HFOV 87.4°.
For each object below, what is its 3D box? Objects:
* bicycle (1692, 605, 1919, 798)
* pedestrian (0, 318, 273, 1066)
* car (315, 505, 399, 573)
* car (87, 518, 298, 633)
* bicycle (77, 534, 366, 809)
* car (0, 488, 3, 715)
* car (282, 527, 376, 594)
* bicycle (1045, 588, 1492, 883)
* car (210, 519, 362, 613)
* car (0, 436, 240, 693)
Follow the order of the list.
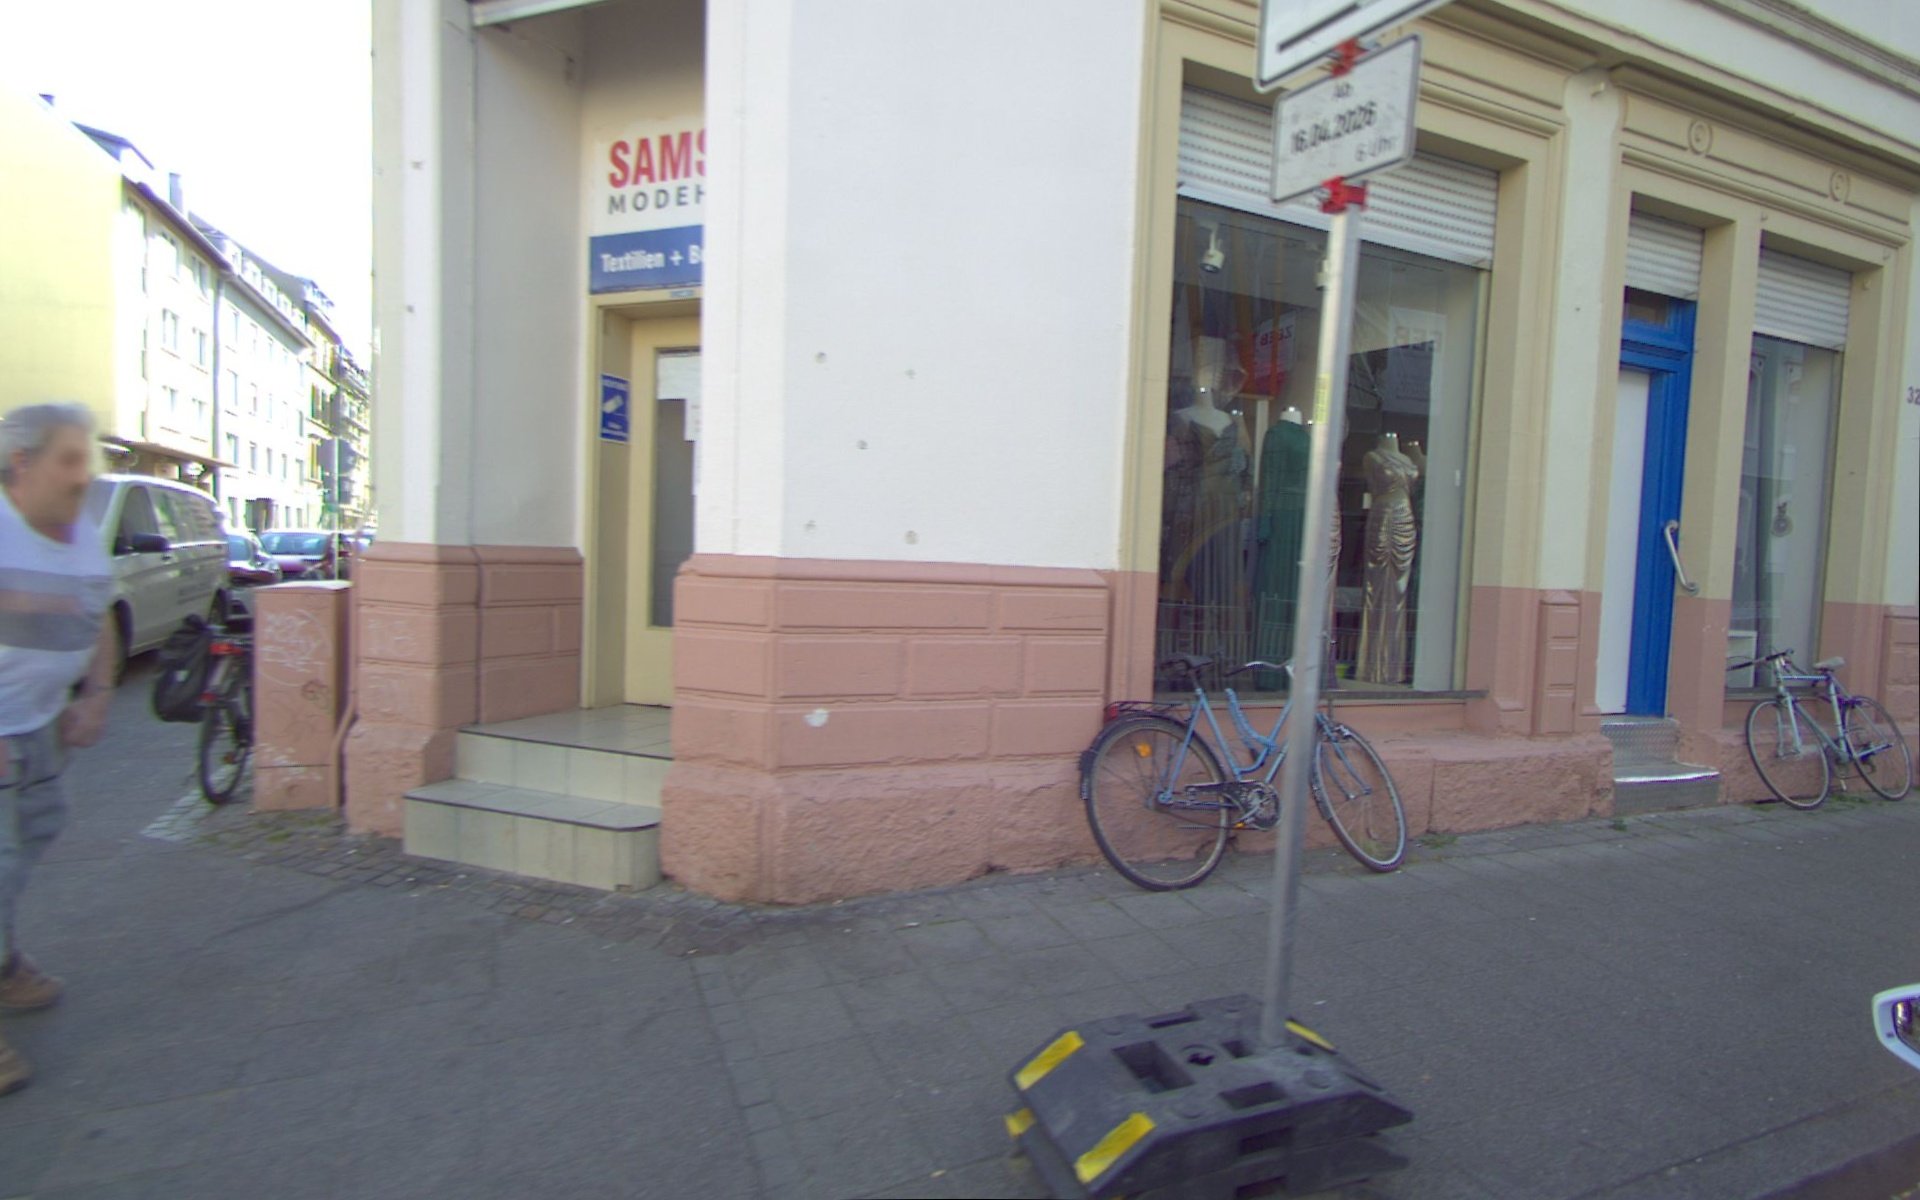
[{"bbox_3d":[5.477,0.590,6.235,1.792,1.036,0.620,2,4,-24],"label":"bicycle"},{"bbox_3d":[-2.379,0.196,2.561,0.853,1.725,0.691,-1,8,-24],"label":"pedestrian"},{"bbox_3d":[-17.255,-1.762,28.891,1.749,1.737,4.128,1,3,-27],"label":"car"},{"bbox_3d":[-11.027,-0.406,14.719,1.736,1.429,3.938,1,3,-27],"label":"car"},{"bbox_3d":[-3.730,0.262,5.266,0.603,1.164,1.920,2,3,-17],"label":"bicycle"},{"bbox_3d":[-6.197,0.114,4.309,1.735,1.475,4.127,1,3,-24],"label":"car"},{"bbox_3d":[-15.149,-0.981,24.270,1.578,1.458,3.559,1,3,-27],"label":"car"},{"bbox_3d":[1.341,0.532,4.357,1.792,1.036,0.601,2,8,-24],"label":"bicycle"},{"bbox_3d":[-13.021,-0.709,19.665,1.748,1.591,4.383,1,3,-25],"label":"car"},{"bbox_3d":[-8.404,-0.414,9.471,1.833,1.875,5.065,1,3,-27],"label":"car"}]
